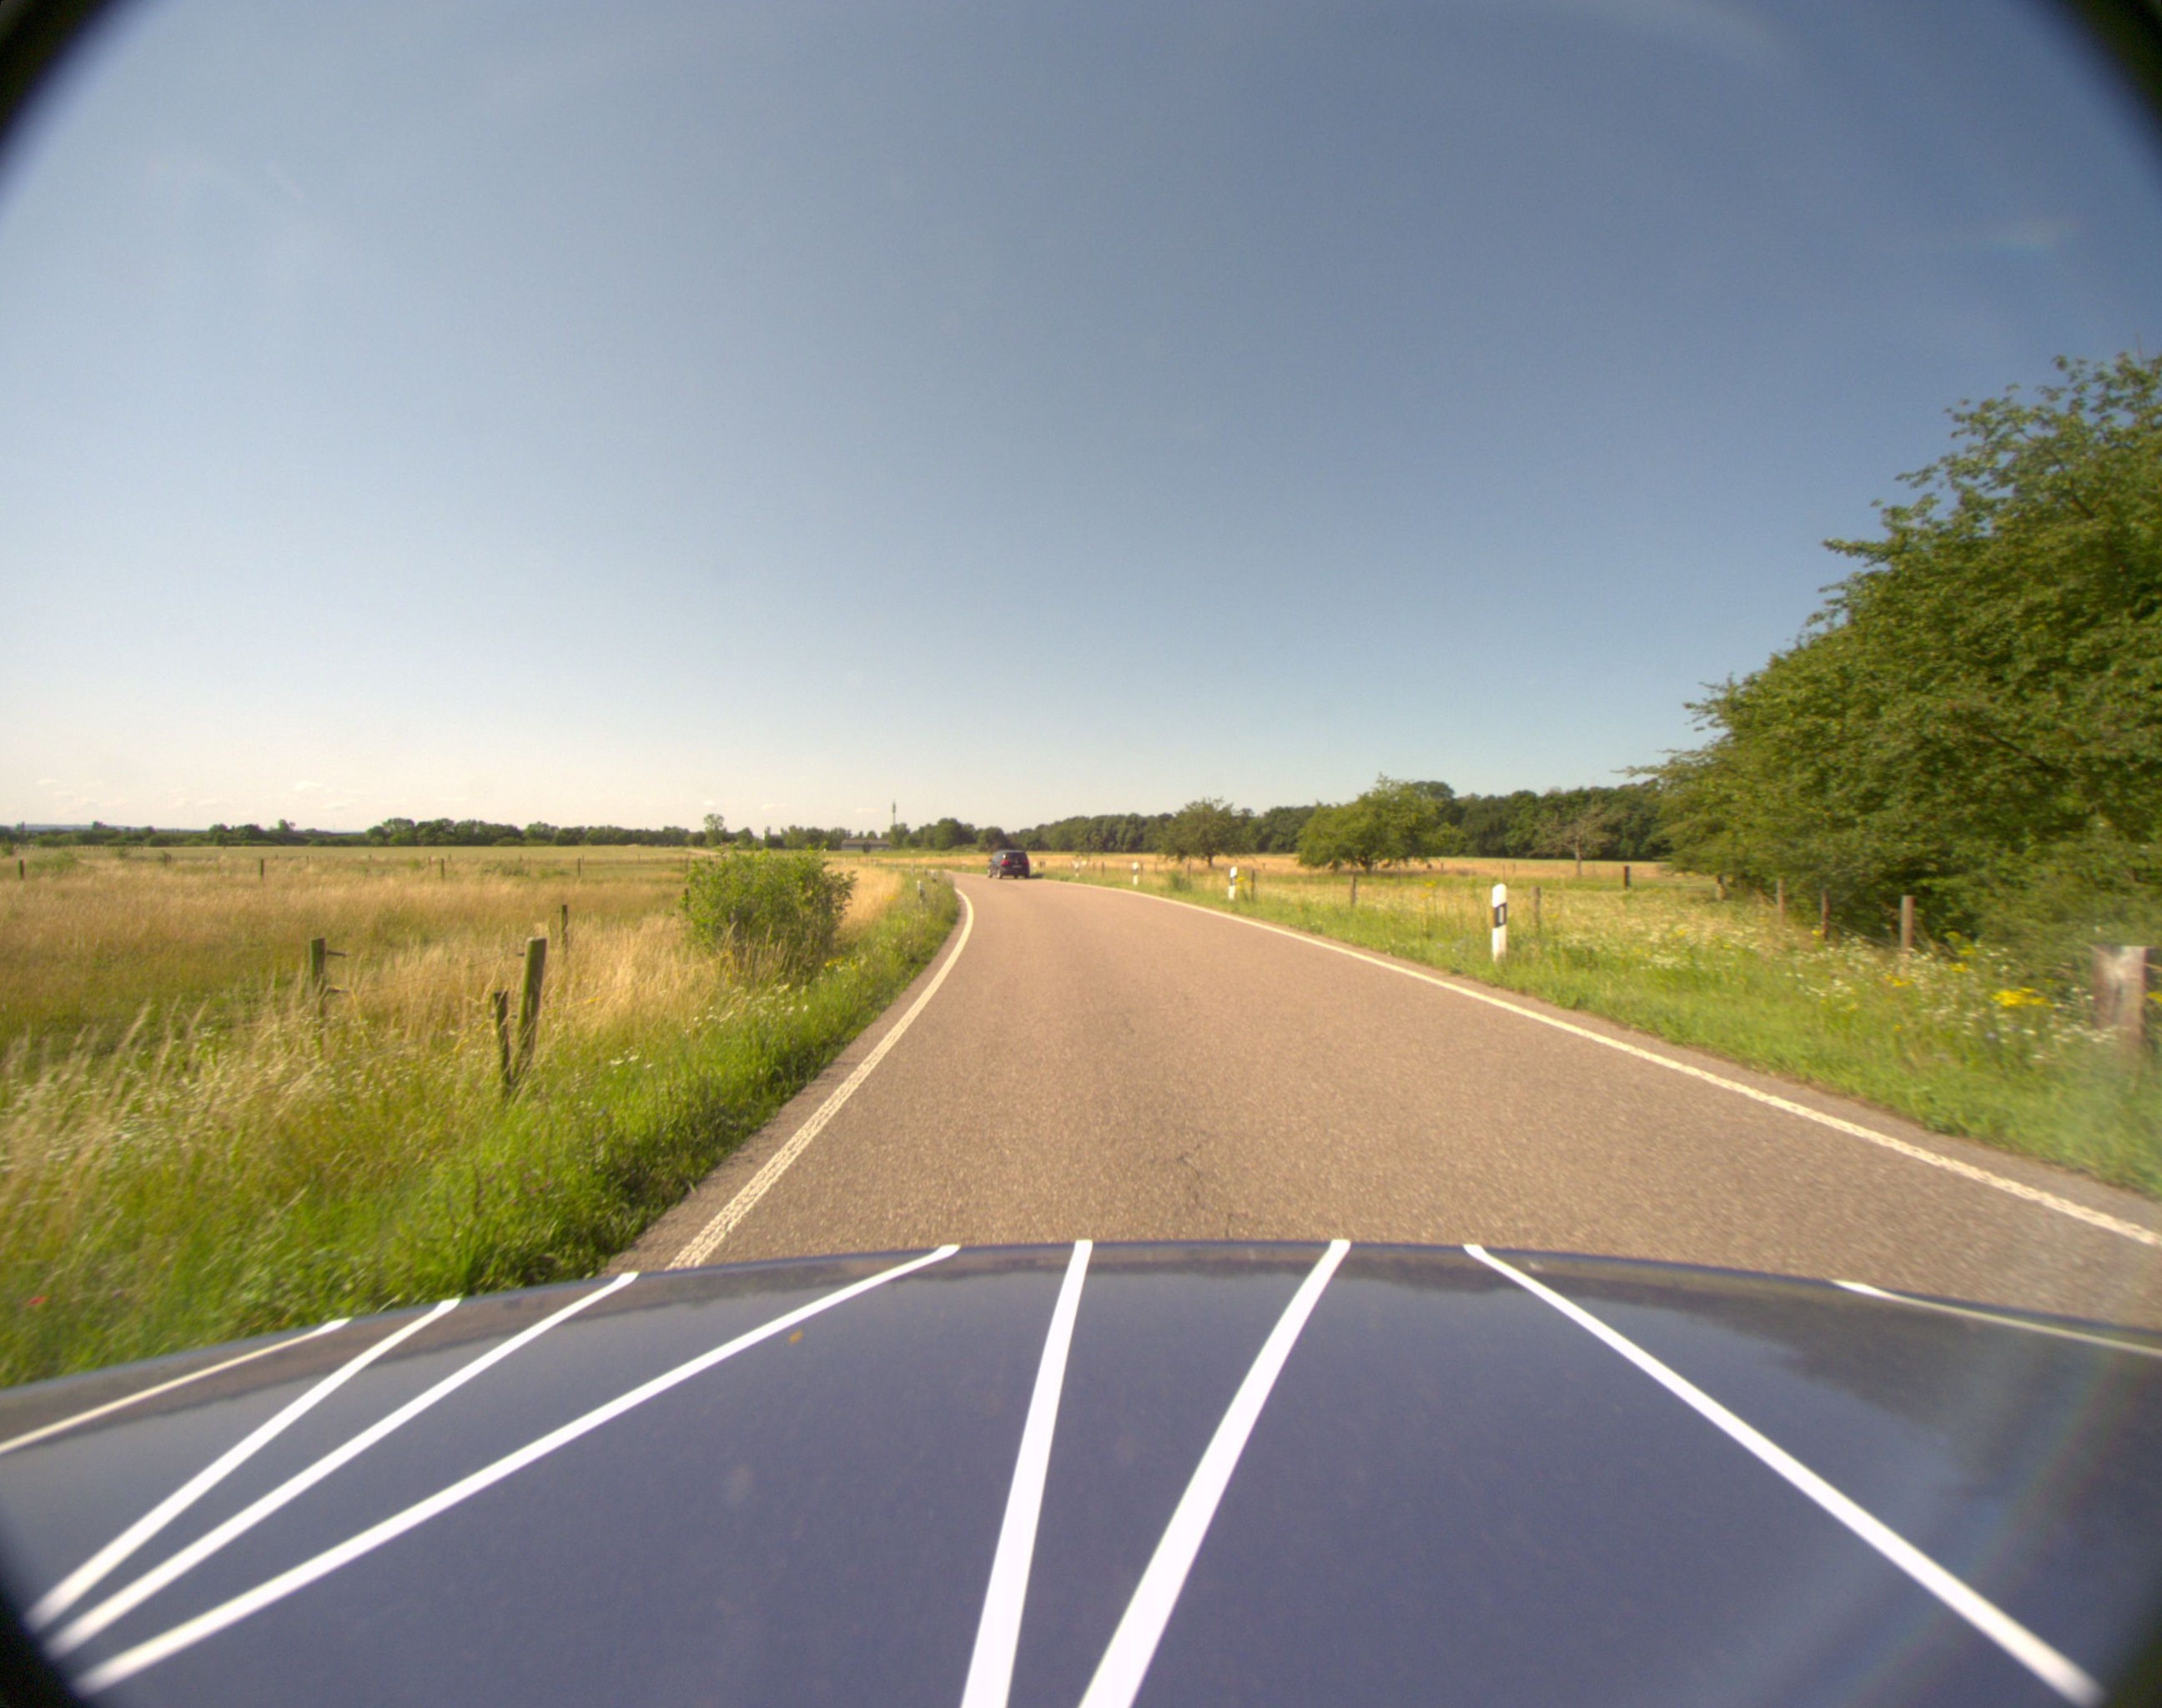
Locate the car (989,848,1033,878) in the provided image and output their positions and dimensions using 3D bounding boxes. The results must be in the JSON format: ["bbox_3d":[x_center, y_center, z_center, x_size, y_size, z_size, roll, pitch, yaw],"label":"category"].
[{"bbox_3d":[-4.101,0.536,44.060,1.791,1.622,4.155,0,-1,-16],"label":"car"}]
